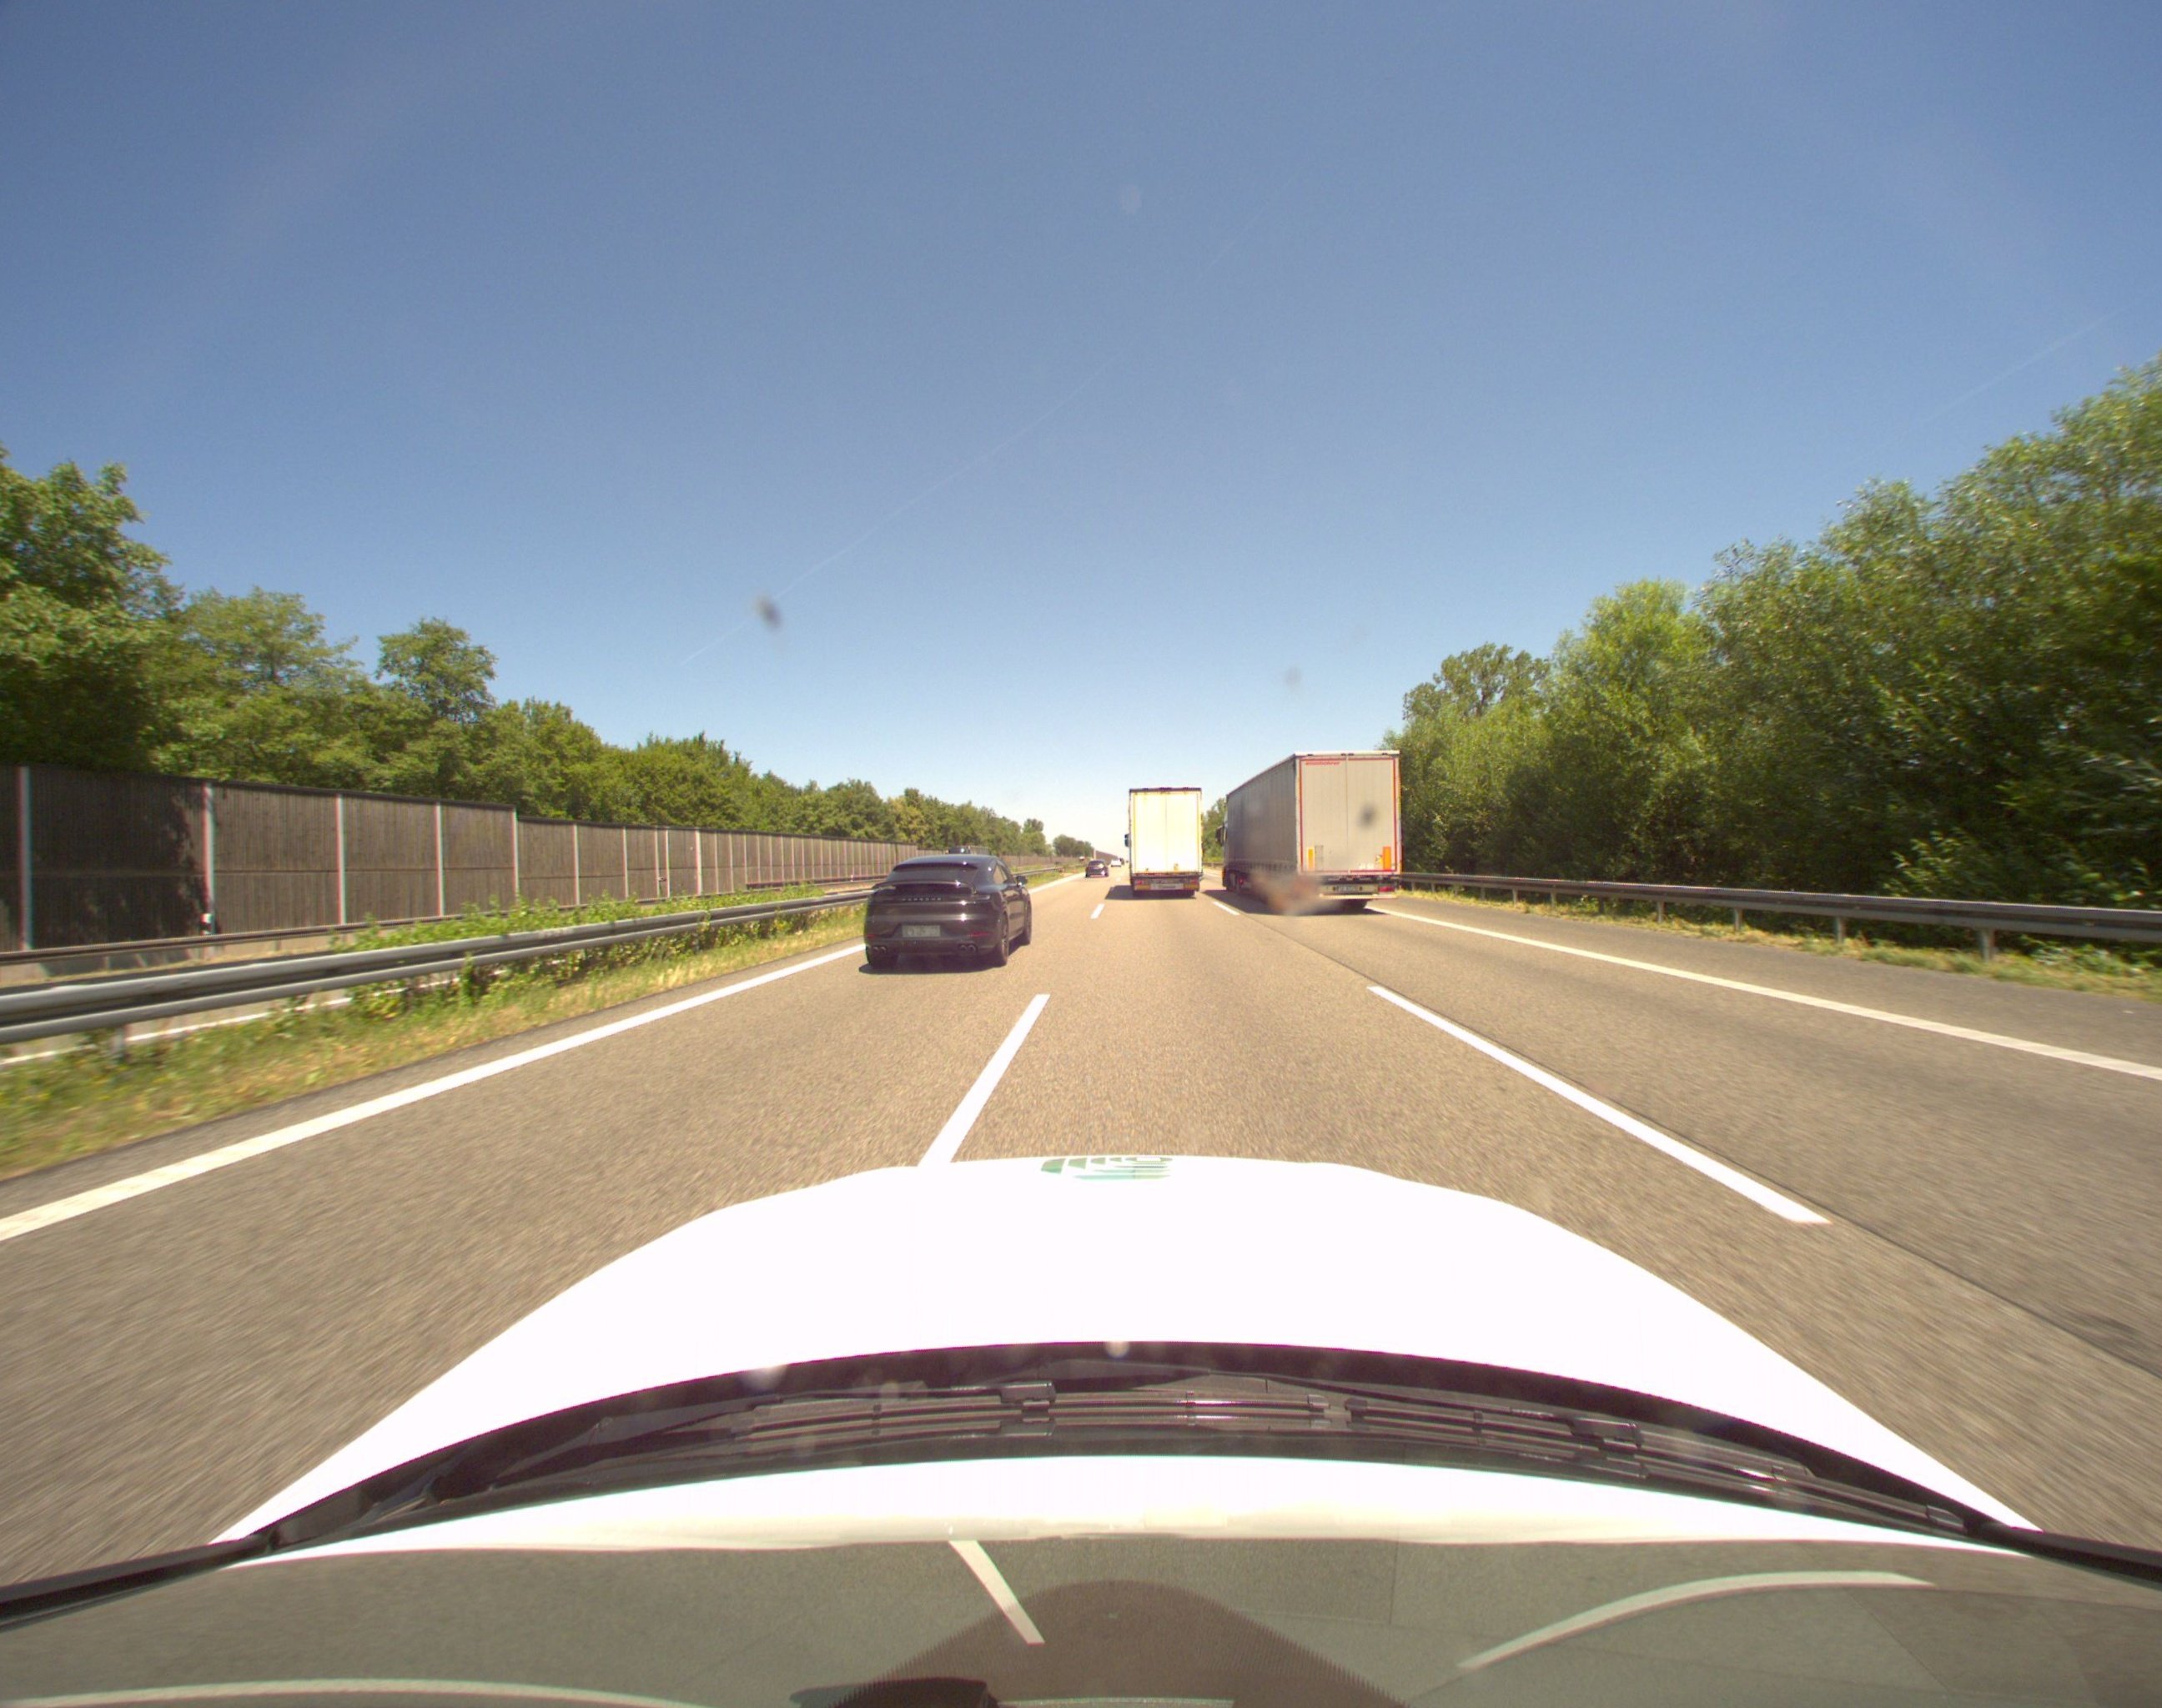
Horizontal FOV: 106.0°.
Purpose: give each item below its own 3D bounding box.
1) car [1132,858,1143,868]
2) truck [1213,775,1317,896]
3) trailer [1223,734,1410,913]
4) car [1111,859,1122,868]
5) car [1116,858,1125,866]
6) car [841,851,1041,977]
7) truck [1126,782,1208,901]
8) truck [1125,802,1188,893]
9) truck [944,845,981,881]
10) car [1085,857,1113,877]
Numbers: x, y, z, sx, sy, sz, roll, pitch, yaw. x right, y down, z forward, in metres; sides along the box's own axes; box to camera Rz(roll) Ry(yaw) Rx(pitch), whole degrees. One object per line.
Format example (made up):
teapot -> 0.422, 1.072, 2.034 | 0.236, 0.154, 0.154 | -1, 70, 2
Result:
car -> 10.262, 1.613, 146.897 | 1.847, 1.617, 4.005 | -4, -1, 4
truck -> 7.211, -0.640, 33.050 | 2.680, 4.215, 7.844 | -3, -1, 3
trailer -> 6.844, -0.682, 26.308 | 2.692, 4.216, 13.222 | -3, -1, 3
car -> 6.380, 1.624, 146.817 | 1.847, 1.486, 4.004 | -4, -1, 4
car -> 9.039, 1.863, 186.500 | 1.848, 1.617, 4.001 | -4, -1, 1
car -> -2.004, 0.805, 13.707 | 2.035, 1.625, 5.776 | -2, 0, 3
truck -> 3.394, -0.381, 35.567 | 2.696, 4.085, 13.484 | -3, -1, 3
truck -> 3.694, -0.276, 41.412 | 2.716, 4.086, 7.282 | -3, -1, 3
truck -> -14.242, 1.083, 98.086 | 2.716, 4.086, 7.844 | -3, -1, 3
car -> 1.592, 1.051, 69.310 | 1.934, 1.506, 5.828 | -4, 0, 4
